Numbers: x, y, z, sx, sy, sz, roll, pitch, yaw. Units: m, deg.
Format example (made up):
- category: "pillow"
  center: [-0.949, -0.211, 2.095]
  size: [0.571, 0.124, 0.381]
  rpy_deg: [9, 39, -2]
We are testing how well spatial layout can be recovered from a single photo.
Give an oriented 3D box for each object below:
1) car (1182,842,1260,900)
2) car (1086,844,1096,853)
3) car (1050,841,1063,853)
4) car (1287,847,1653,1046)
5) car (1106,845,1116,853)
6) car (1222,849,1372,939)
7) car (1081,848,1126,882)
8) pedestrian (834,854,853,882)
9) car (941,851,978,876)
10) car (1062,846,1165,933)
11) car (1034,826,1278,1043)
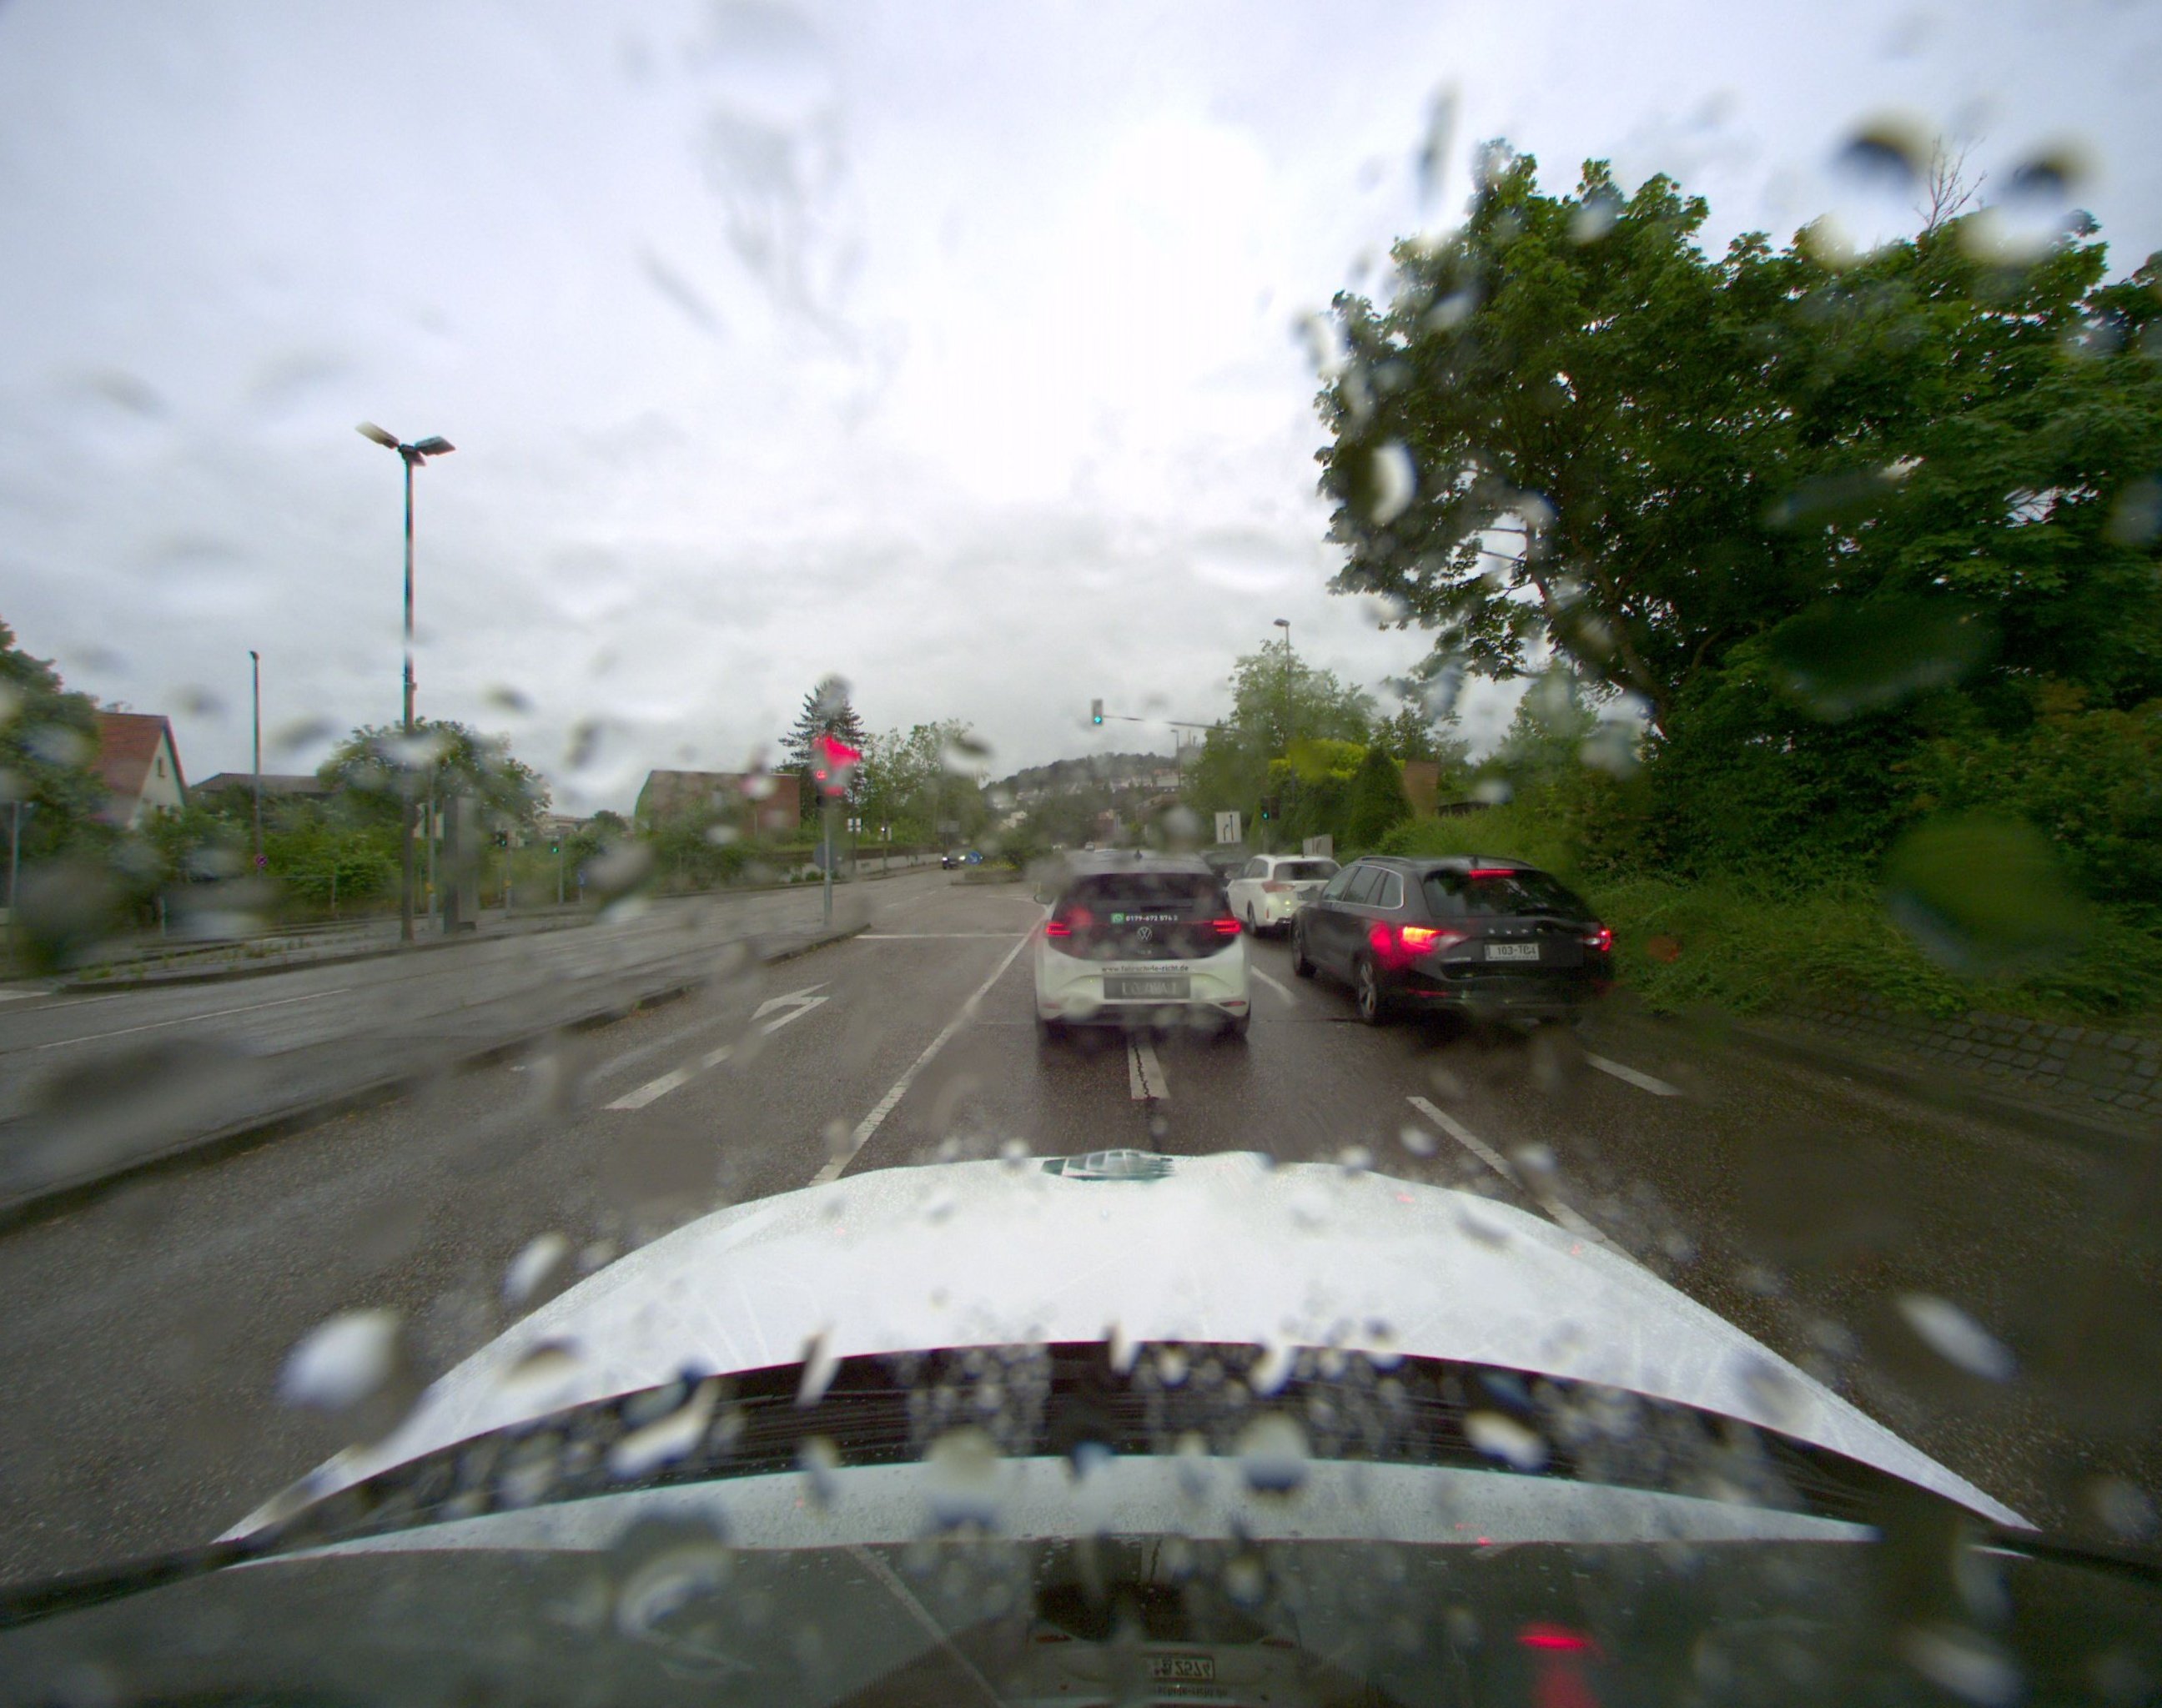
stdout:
- category: "car"
  center: [4.051, 0.465, 24.199]
  size: [1.769, 1.581, 4.002]
  rpy_deg: [0, 0, 2]
- category: "car"
  center: [1.656, -0.873, 133.614]
  size: [1.575, 1.467, 4.000]
  rpy_deg: [-3, -1, 1]
- category: "car"
  center: [-4.158, -1.247, 140.675]
  size: [1.986, 2.014, 4.002]
  rpy_deg: [-1, -1, 2]
- category: "car"
  center: [3.418, 0.667, 8.203]
  size: [1.830, 1.466, 4.353]
  rpy_deg: [0, 0, 3]
- category: "car"
  center: [6.207, -1.021, 169.378]
  size: [1.755, 1.418, 3.748]
  rpy_deg: [-3, 0, 0]
- category: "car"
  center: [3.887, 0.646, 15.362]
  size: [1.831, 1.466, 4.118]
  rpy_deg: [0, 0, 1]
- category: "car"
  center: [0.966, 0.427, 35.220]
  size: [1.831, 1.400, 3.832]
  rpy_deg: [0, 0, 1]
- category: "pedestrian"
  center: [-14.040, 0.822, 48.118]
  size: [0.757, 1.568, 0.825]
  rpy_deg: [-4, 0, 1]
- category: "car"
  center: [-9.428, 0.729, 63.491]
  size: [1.986, 1.804, 4.002]
  rpy_deg: [-4, 0, 2]
- category: "car"
  center: [0.619, 0.621, 16.587]
  size: [1.831, 1.555, 4.176]
  rpy_deg: [0, 0, 1]
- category: "car"
  center: [0.616, 0.593, 8.434]
  size: [1.831, 1.629, 4.617]
  rpy_deg: [0, 0, 1]
